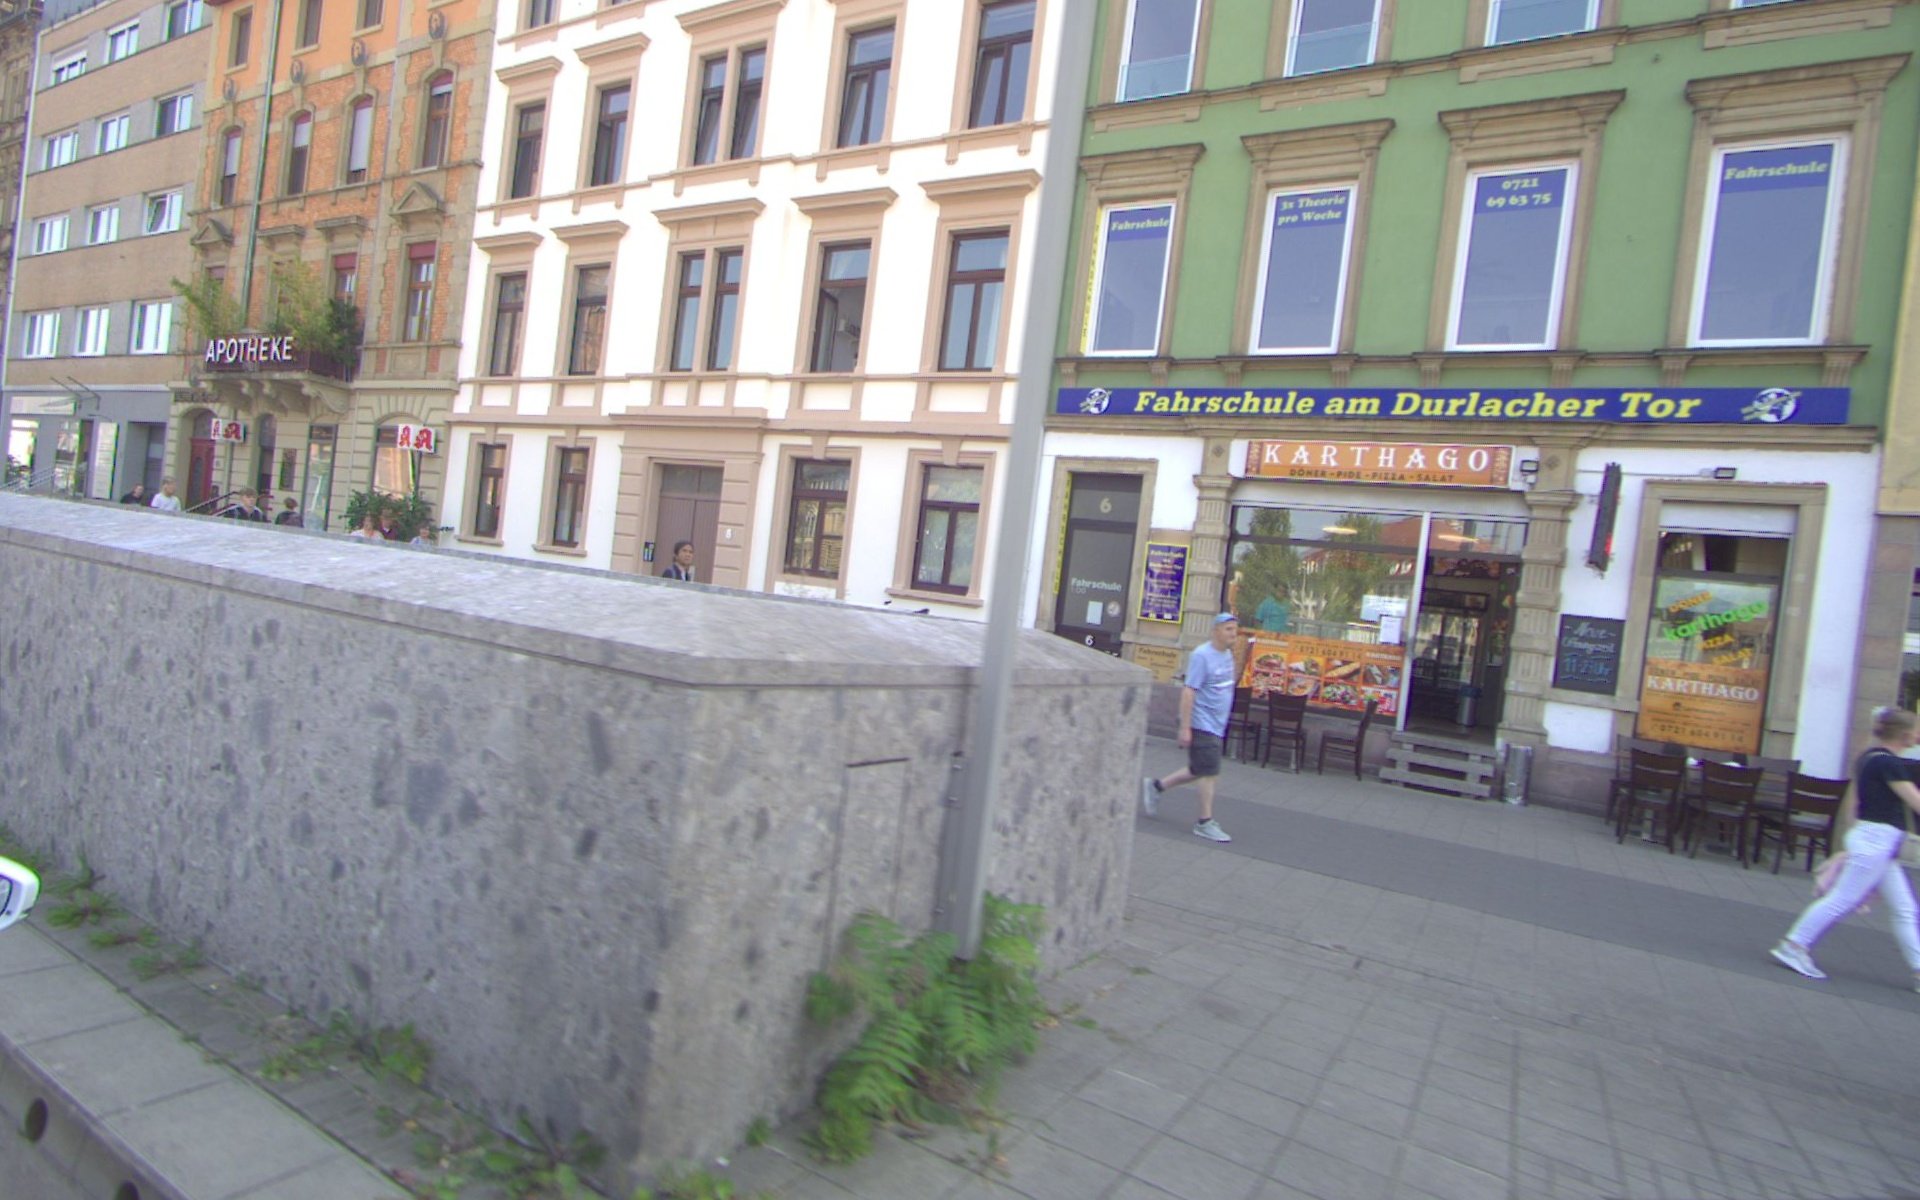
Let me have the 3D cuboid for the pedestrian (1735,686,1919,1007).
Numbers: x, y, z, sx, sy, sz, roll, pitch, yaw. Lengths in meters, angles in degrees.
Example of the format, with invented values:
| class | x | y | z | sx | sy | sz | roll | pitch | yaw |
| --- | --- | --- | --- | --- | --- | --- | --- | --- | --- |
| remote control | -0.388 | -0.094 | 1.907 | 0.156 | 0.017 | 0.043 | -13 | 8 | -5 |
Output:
| class | x | y | z | sx | sy | sz | roll | pitch | yaw |
| --- | --- | --- | --- | --- | --- | --- | --- | --- | --- |
| pedestrian | 5.316 | 1.373 | 5.732 | 0.953 | 1.601 | 0.852 | 7 | 1 | -3 |

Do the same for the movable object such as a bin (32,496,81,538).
| class | x | y | z | sx | sy | sz | roll | pitch | yaw |
| --- | --- | --- | --- | --- | --- | --- | --- | --- | --- |
| movable object such as a bin | -25.615 | -2.346 | 28.527 | 0.752 | 1.061 | 0.645 | 7 | 1 | -13 |

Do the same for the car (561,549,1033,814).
| class | x | y | z | sx | sy | sz | roll | pitch | yaw |
| --- | --- | --- | --- | --- | --- | --- | --- | --- | --- |
| car | -1.415 | 0.561 | 8.420 | 3.558 | 1.458 | 1.633 | 8 | 1 | 31 |

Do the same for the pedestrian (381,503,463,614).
| class | x | y | z | sx | sy | sz | roll | pitch | yaw |
| --- | --- | --- | --- | --- | --- | --- | --- | --- | --- |
| pedestrian | -9.513 | -0.736 | 17.777 | 1.000 | 1.796 | 0.685 | 9 | 2 | 30 |

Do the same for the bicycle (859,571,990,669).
| class | x | y | z | sx | sy | sz | roll | pitch | yaw |
| --- | --- | --- | --- | --- | --- | --- | --- | --- | --- |
| bicycle | -0.531 | 0.277 | 14.516 | 1.816 | 1.199 | 0.459 | 7 | 1 | 31 |

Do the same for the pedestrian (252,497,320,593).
| class | x | y | z | sx | sy | sz | roll | pitch | yaw |
| --- | --- | --- | --- | --- | --- | --- | --- | --- | --- |
| pedestrian | -13.954 | -1.130 | 20.842 | 0.674 | 1.871 | 0.842 | 7 | 3 | 22 |

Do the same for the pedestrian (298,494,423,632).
| class | x | y | z | sx | sy | sz | roll | pitch | yaw |
| --- | --- | --- | --- | --- | --- | --- | --- | --- | --- |
| pedestrian | -7.664 | -0.456 | 12.908 | 0.953 | 1.601 | 0.852 | 7 | 1 | -3 |

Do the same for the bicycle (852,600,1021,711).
| class | x | y | z | sx | sy | sz | roll | pitch | yaw |
| --- | --- | --- | --- | --- | --- | --- | --- | --- | --- |
| bicycle | -0.371 | 0.764 | 14.388 | 2.430 | 1.161 | 0.480 | 10 | 2 | 33 |

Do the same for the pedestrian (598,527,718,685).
| class | x | y | z | sx | sy | sz | roll | pitch | yaw |
| --- | --- | --- | --- | --- | --- | --- | --- | --- | --- |
| pedestrian | -3.378 | 0.069 | 11.332 | 0.953 | 1.601 | 0.852 | 7 | 1 | -3 |

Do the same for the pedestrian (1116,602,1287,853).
| class | x | y | z | sx | sy | sz | roll | pitch | yaw |
| --- | --- | --- | --- | --- | --- | --- | --- | --- | --- |
| pedestrian | 1.856 | 0.931 | 7.714 | 0.927 | 1.707 | 0.671 | 8 | 2 | 31 |

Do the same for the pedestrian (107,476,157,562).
| class | x | y | z | sx | sy | sz | roll | pitch | yaw |
| --- | --- | --- | --- | --- | --- | --- | --- | --- | --- |
| pedestrian | -17.991 | -1.752 | 21.863 | 0.667 | 1.774 | 0.577 | 7 | 3 | 30 |

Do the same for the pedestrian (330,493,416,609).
| class | x | y | z | sx | sy | sz | roll | pitch | yaw |
| --- | --- | --- | --- | --- | --- | --- | --- | --- | --- |
| pedestrian | -9.940 | -0.831 | 17.038 | 1.000 | 1.796 | 0.685 | 9 | 2 | 30 |

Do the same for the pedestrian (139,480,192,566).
| class | x | y | z | sx | sy | sz | roll | pitch | yaw |
| --- | --- | --- | --- | --- | --- | --- | --- | --- | --- |
| pedestrian | -17.710 | -1.717 | 22.426 | 0.865 | 1.819 | 0.600 | 7 | 3 | 31 |

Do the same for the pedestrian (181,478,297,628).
| class | x | y | z | sx | sy | sz | roll | pitch | yaw |
| --- | --- | --- | --- | --- | --- | --- | --- | --- | --- |
| pedestrian | -9.265 | -0.595 | 12.922 | 0.956 | 1.752 | 0.849 | 10 | 4 | 37 |
